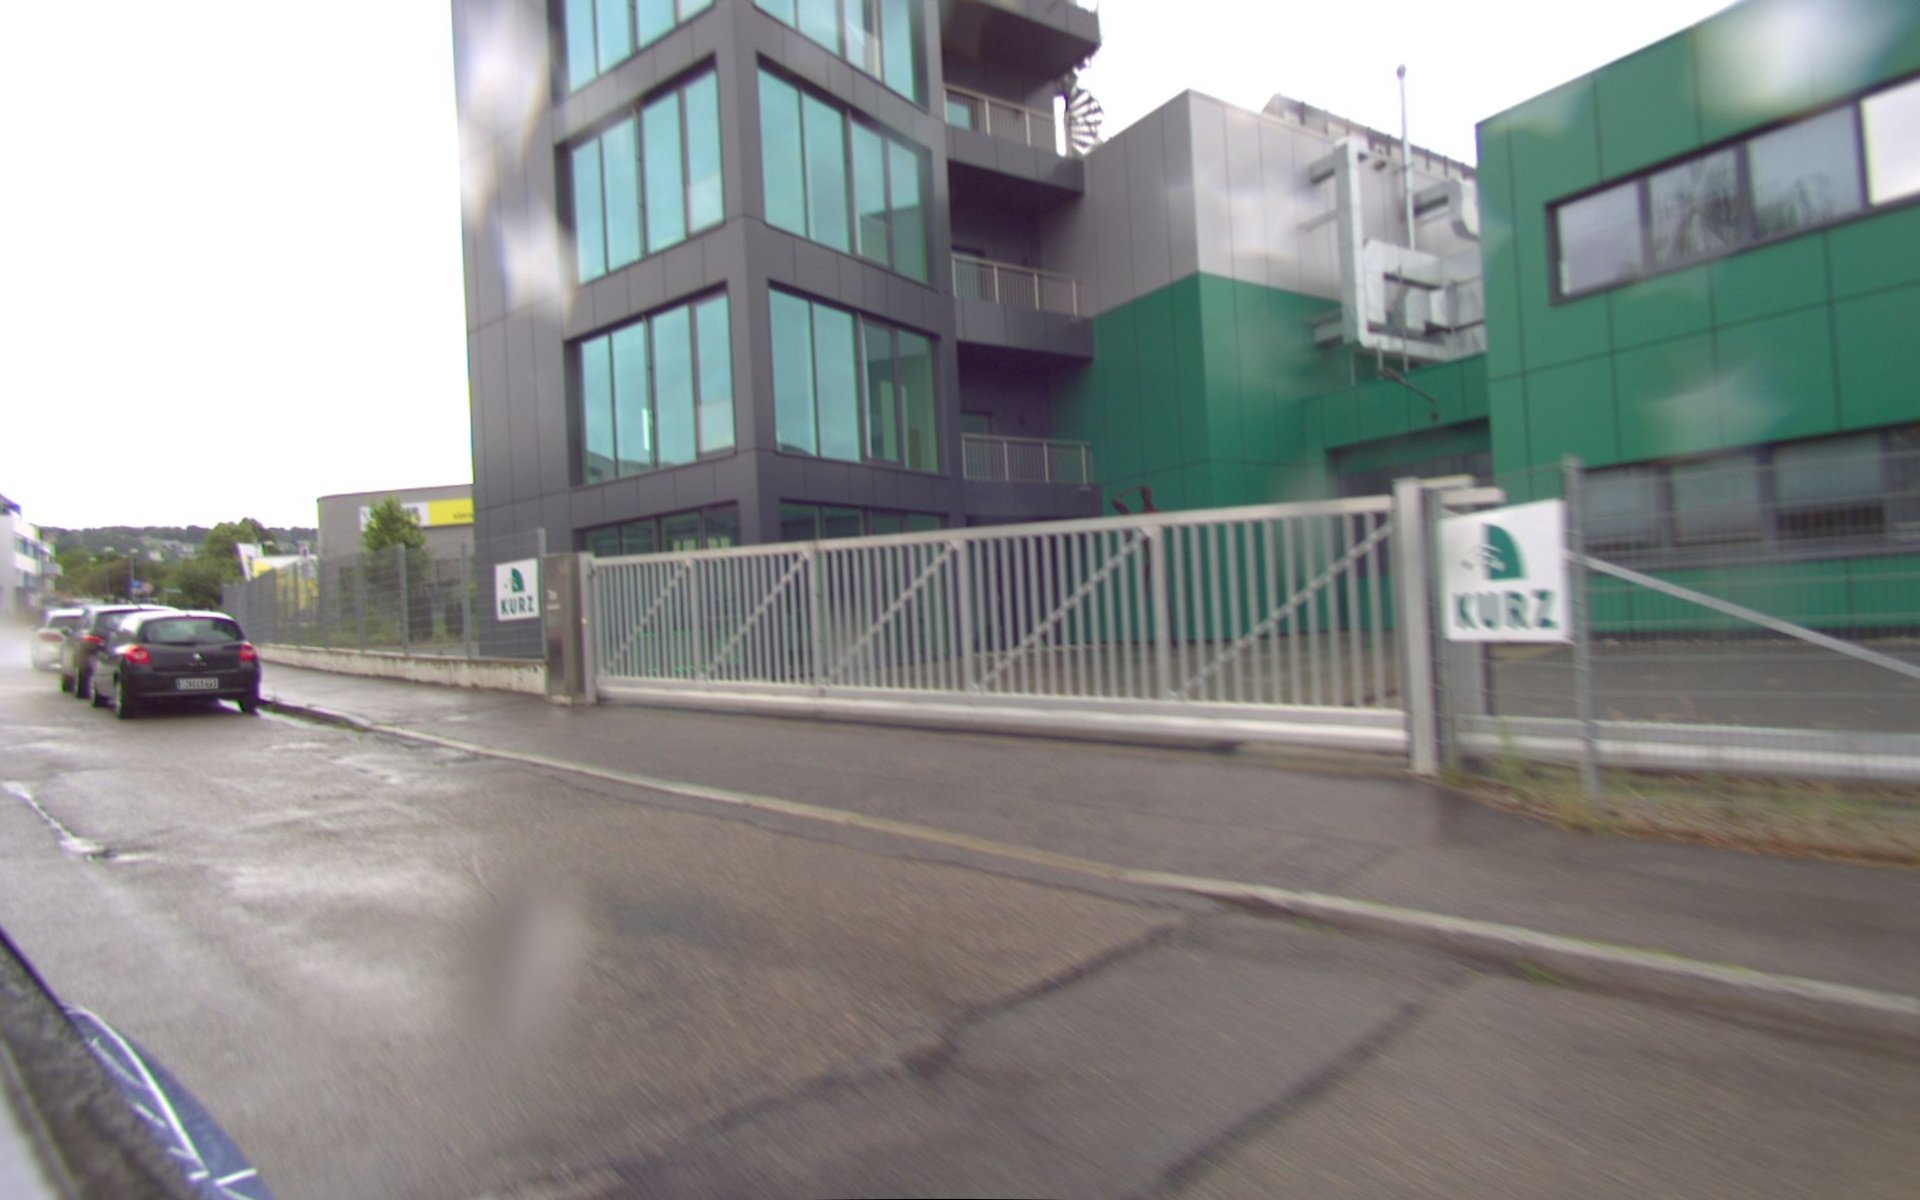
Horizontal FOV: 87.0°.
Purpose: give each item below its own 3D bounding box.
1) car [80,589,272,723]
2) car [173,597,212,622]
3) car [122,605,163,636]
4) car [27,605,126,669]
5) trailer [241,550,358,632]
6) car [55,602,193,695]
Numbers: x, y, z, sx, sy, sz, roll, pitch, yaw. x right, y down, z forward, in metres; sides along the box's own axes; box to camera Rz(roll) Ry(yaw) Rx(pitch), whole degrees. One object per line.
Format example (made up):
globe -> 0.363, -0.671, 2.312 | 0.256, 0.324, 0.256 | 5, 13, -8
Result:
car -> -12.155, 0.771, 15.604 | 3.958, 1.811, 1.720 | -1, -1, 43
car -> -63.402, 0.807, 83.667 | 1.966, 2.029, 4.012 | 0, -1, -29
car -> -52.911, 1.363, 65.466 | 1.969, 1.928, 4.006 | 1, -2, -40
car -> -23.722, 0.946, 27.125 | 1.715, 1.547, 4.252 | -1, 0, -45
trailer -> -34.348, -0.440, 52.717 | 4.639, 4.120, 2.386 | -1, 0, 4
car -> -15.717, 0.865, 18.952 | 1.613, 1.570, 4.086 | 2, -2, -45
